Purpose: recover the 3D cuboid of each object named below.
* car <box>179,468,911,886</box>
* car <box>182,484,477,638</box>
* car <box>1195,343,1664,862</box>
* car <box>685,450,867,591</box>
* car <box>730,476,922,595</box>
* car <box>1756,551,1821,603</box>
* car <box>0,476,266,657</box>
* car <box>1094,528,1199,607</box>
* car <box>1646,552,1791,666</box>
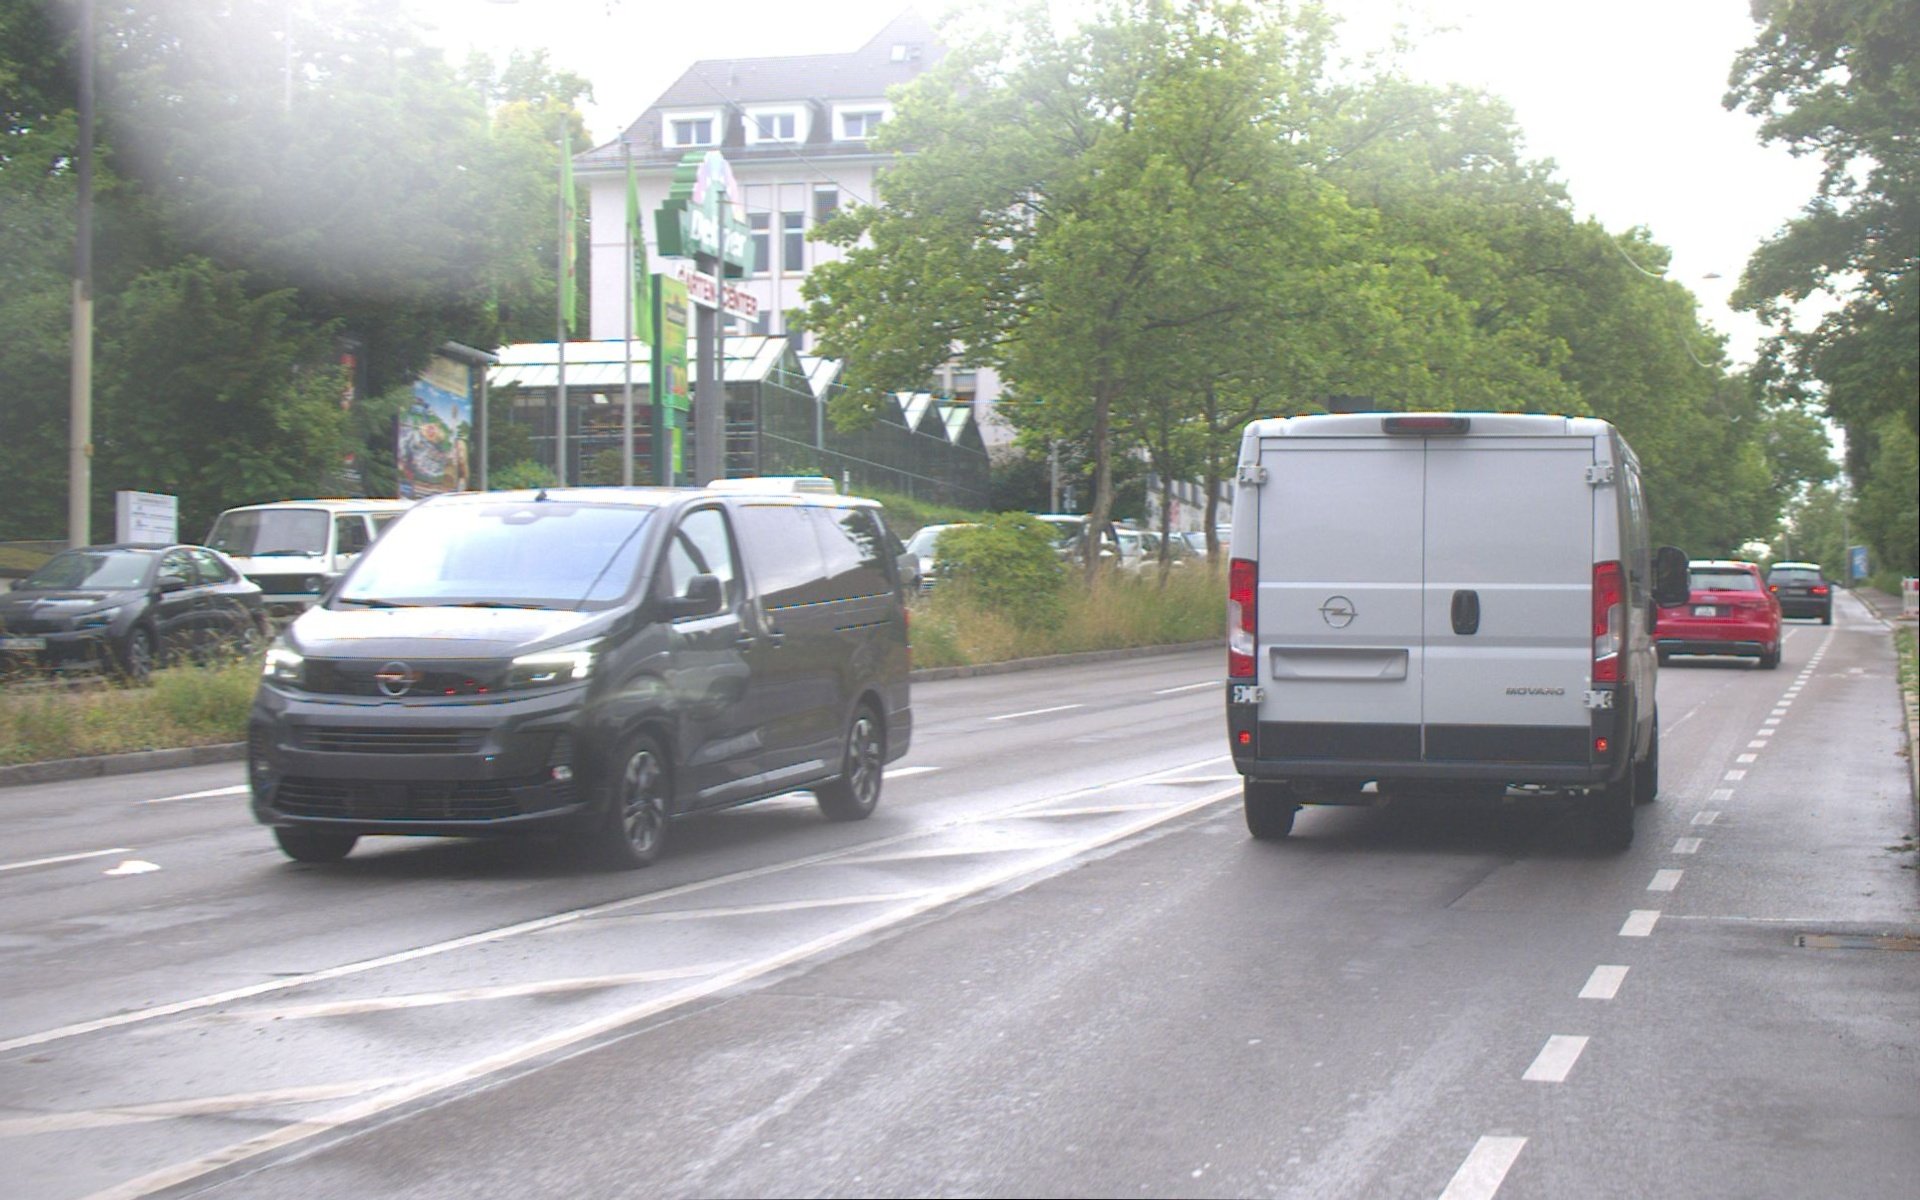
[{"bbox_3d":[-1.945,0.321,18.005,2.016,1.860,5.038,0,0,16],"label":"car"},{"bbox_3d":[-7.489,-0.498,41.323,1.772,1.740,4.581,0,1,13],"label":"car"},{"bbox_3d":[2.800,-0.031,19.429,2.051,2.508,4.940,2,1,14],"label":"car"},{"bbox_3d":[-3.282,-1.448,62.637,1.964,2.435,5.653,-1,1,11],"label":"car"},{"bbox_3d":[-1.777,-0.896,46.906,1.593,1.535,3.990,0,1,13],"label":"car"},{"bbox_3d":[19.278,-0.520,79.970,1.345,1.135,2.288,0,-2,16],"label":"car"},{"bbox_3d":[-8.634,-0.367,34.812,1.611,1.716,3.991,0,1,13],"label":"car"},{"bbox_3d":[3.617,-0.599,66.088,1.361,1.390,3.705,0,-2,14],"label":"car"},{"bbox_3d":[10.282,0.141,46.467,1.694,1.421,3.365,1,-1,16],"label":"car"}]
